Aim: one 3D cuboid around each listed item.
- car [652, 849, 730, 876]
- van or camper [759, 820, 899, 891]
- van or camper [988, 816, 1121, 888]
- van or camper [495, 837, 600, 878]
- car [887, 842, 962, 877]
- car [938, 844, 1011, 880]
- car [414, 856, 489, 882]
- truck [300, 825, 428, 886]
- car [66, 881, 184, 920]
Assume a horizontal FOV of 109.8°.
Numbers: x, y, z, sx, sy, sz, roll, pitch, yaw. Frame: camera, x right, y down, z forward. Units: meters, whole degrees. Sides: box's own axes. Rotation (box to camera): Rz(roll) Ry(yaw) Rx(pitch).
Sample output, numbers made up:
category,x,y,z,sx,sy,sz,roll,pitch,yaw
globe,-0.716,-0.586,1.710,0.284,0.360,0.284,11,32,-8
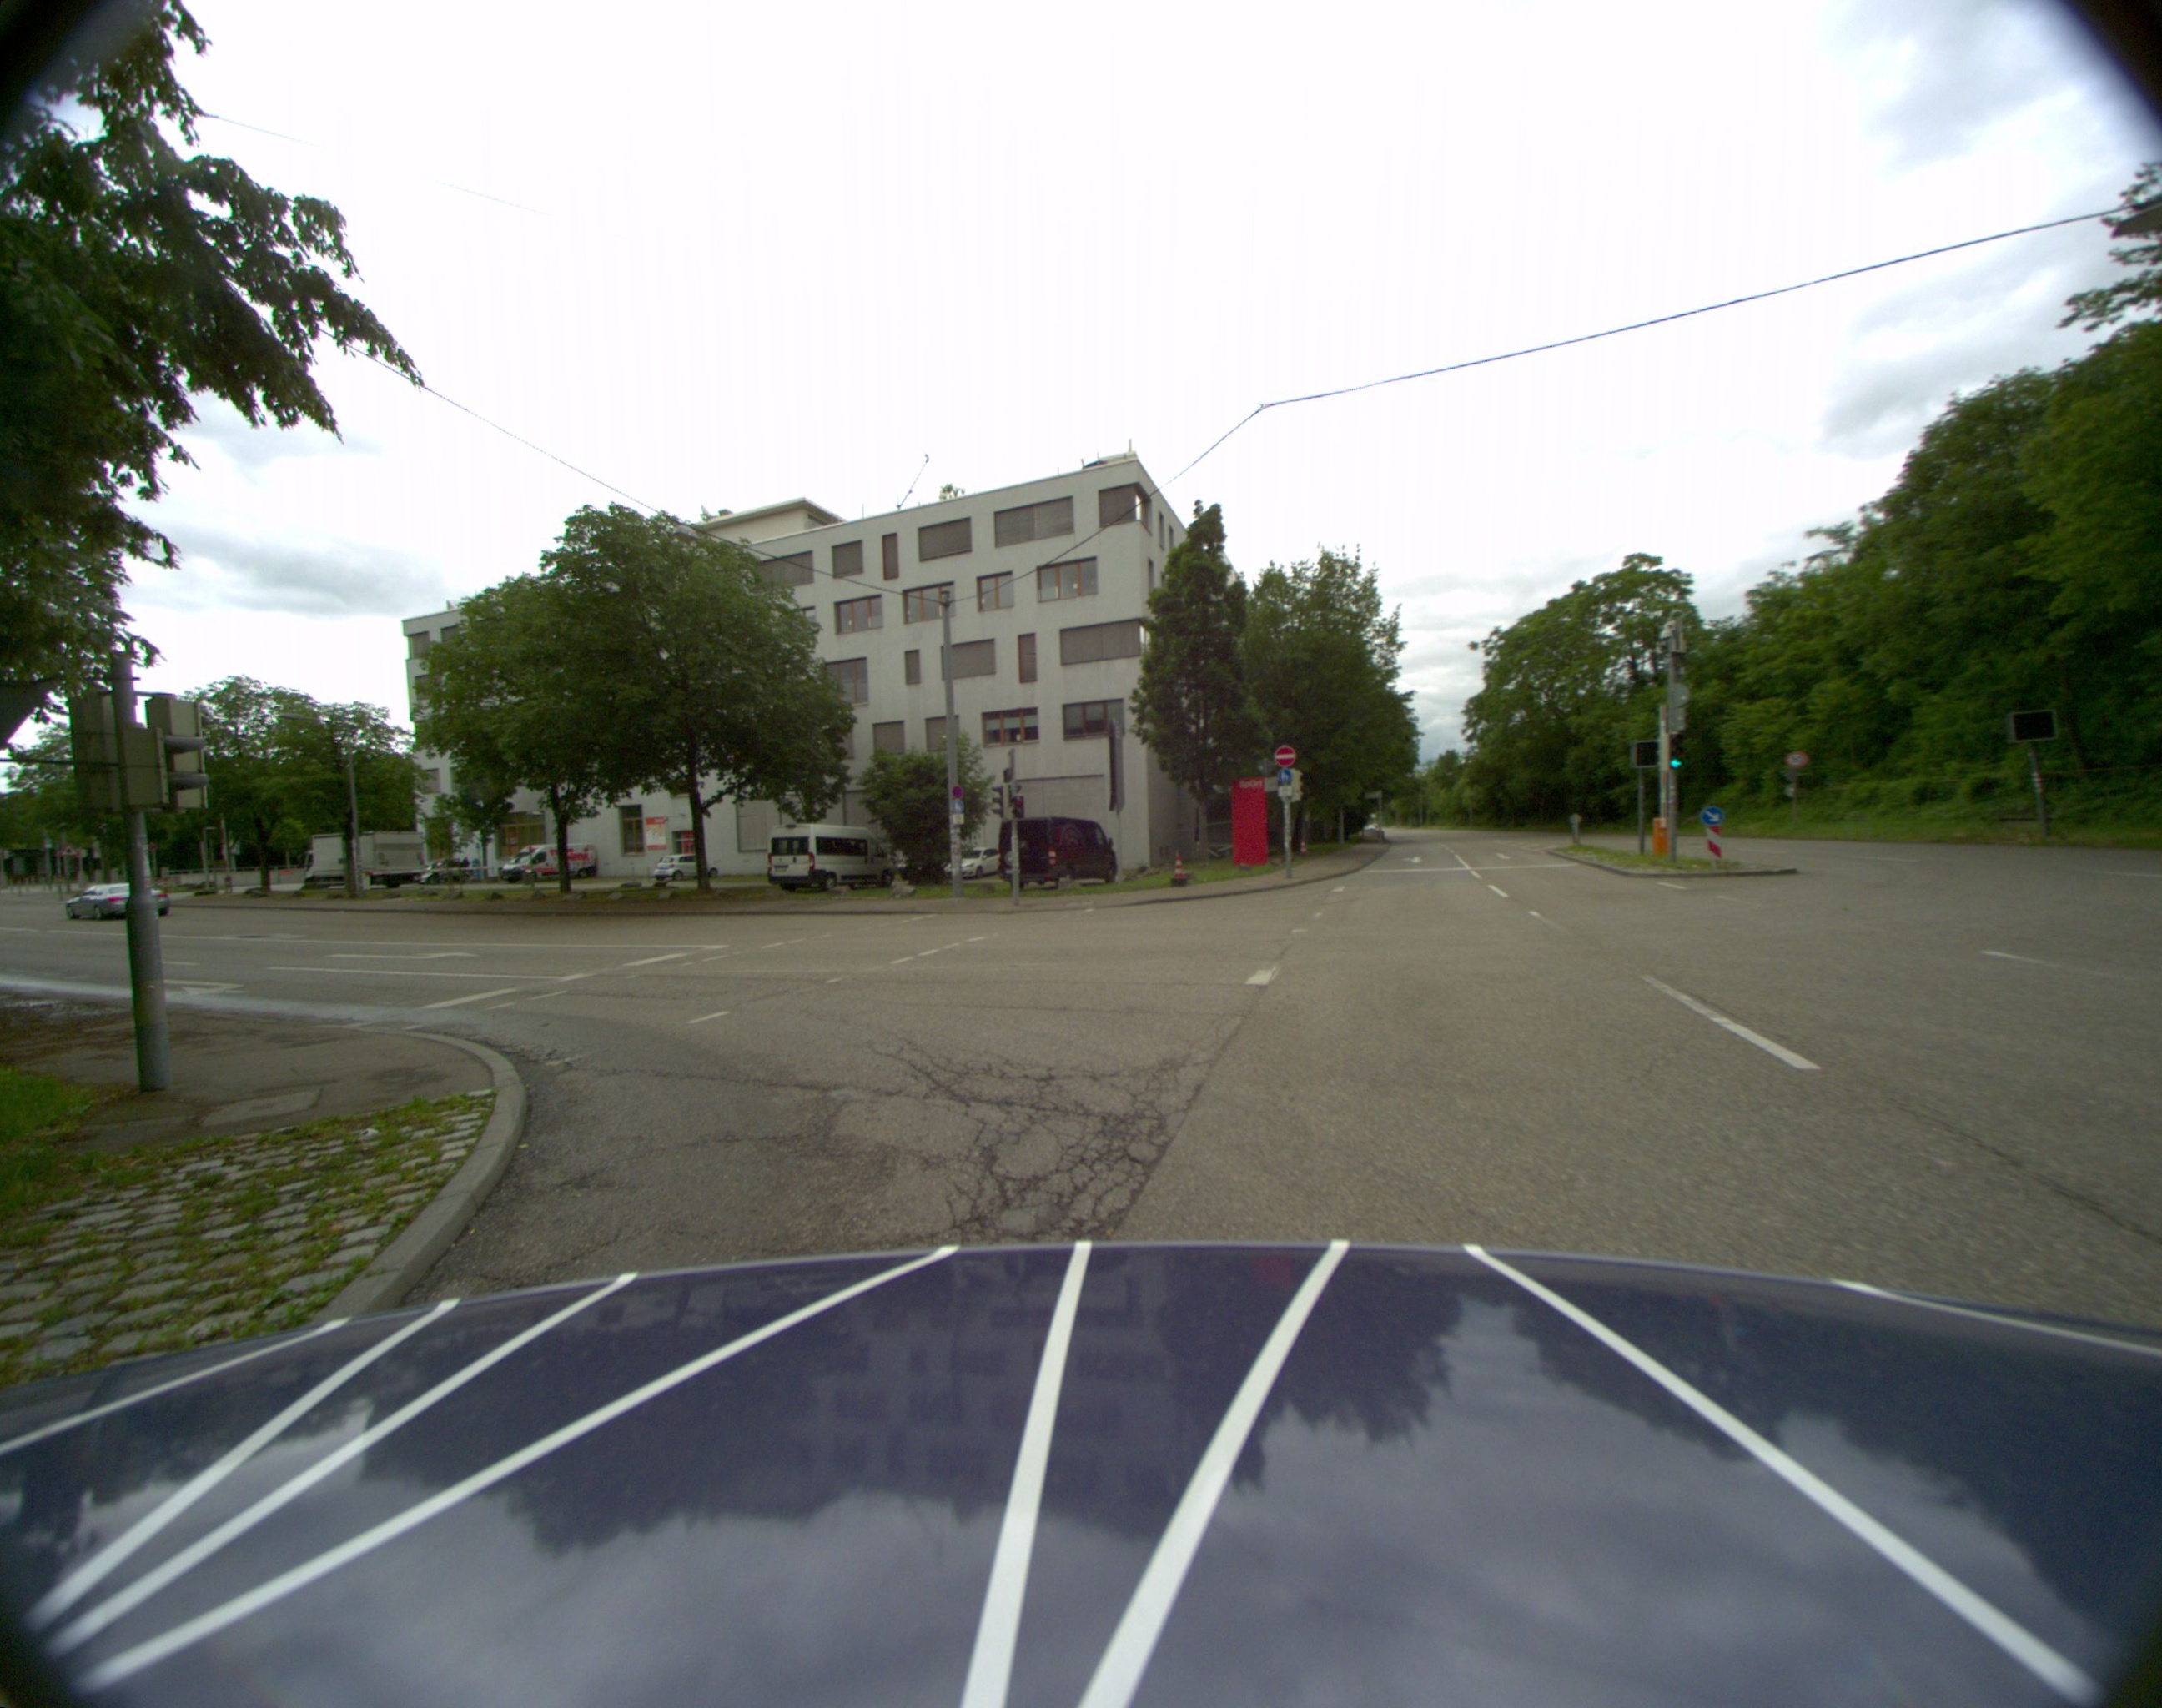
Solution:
category,x,y,z,sx,sy,sz,roll,pitch,yaw
car,-23.867,0.489,46.661,1.710,1.411,4.017,-1,2,24
van or camper,-9.465,0.016,29.083,2.152,2.409,5.193,-2,1,21
van or camper,-0.698,-0.066,25.534,2.165,2.097,5.653,-2,0,24
van or camper,-35.801,0.178,51.175,2.252,2.413,5.275,-1,2,22
car,-8.092,0.247,39.723,1.840,1.521,4.086,-2,3,21
car,-5.389,0.381,38.942,1.854,1.452,4.079,-2,4,22
car,-45.560,1.059,55.069,1.651,1.638,3.707,-1,2,26
truck,-45.595,0.121,48.328,7.821,3.595,2.653,-1,0,21
car,-39.697,1.915,31.557,4.361,1.390,1.705,-2,1,20
